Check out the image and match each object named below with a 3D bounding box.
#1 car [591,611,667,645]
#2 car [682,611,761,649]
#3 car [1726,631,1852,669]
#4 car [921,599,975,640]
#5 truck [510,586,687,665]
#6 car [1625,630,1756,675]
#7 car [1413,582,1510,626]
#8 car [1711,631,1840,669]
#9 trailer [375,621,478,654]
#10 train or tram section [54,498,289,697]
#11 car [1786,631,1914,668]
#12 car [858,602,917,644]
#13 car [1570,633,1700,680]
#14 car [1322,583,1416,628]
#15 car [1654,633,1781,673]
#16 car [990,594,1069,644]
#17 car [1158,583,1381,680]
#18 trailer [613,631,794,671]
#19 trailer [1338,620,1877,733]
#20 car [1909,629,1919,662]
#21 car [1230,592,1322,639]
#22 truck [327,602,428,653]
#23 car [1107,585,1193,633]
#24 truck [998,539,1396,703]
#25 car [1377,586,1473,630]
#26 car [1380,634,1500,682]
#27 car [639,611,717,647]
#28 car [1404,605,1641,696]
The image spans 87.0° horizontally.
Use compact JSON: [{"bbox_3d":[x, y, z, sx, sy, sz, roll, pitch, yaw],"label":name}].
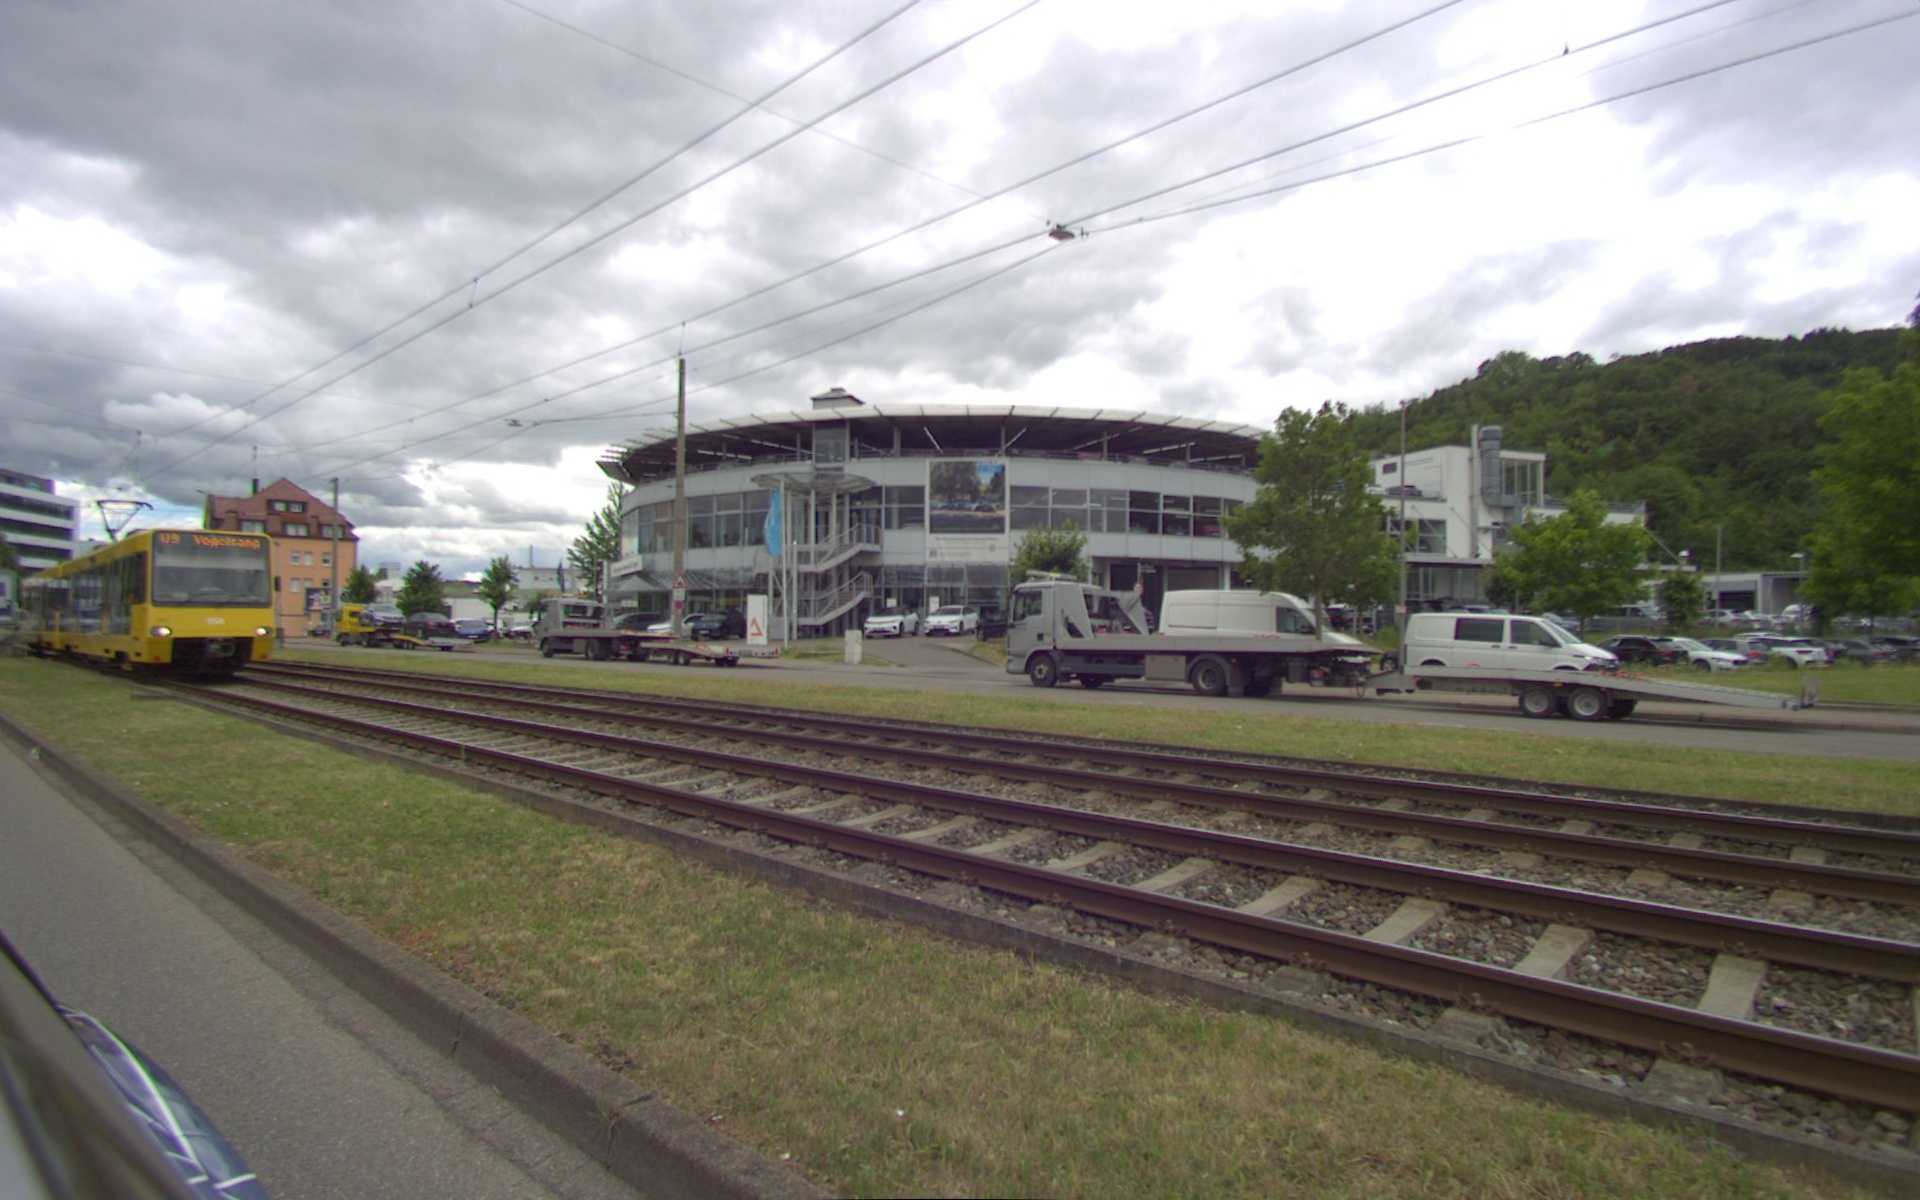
[{"bbox_3d":[-19.936,1.668,60.979,3.933,1.962,2.005,1,-2,-35],"label":"car"},{"bbox_3d":[-12.814,1.601,54.571,1.992,1.962,3.958,-1,-2,30],"label":"car"},{"bbox_3d":[34.182,2.025,41.803,1.649,1.447,3.724,1,-2,-36],"label":"car"},{"bbox_3d":[-0.557,1.006,51.479,1.979,2.029,3.986,-1,-1,11],"label":"car"},{"bbox_3d":[-15.082,1.105,41.764,8.962,2.944,3.073,-2,-4,43],"label":"truck"},{"bbox_3d":[27.975,1.961,38.853,1.649,1.630,3.724,1,-2,-36],"label":"car"},{"bbox_3d":[24.382,0.239,49.347,1.965,2.029,4.012,0,-1,-19],"label":"car"},{"bbox_3d":[32.697,1.973,40.658,1.649,1.447,3.724,1,-2,-36],"label":"car"},{"bbox_3d":[-29.517,2.035,55.835,7.571,1.701,2.944,-2,-2,45],"label":"trailer"},{"bbox_3d":[-22.219,0.003,27.775,3.349,4.037,16.958,-1,0,-44],"label":"train or tram section"},{"bbox_3d":[37.269,2.038,42.444,1.649,1.447,3.724,1,-2,-36],"label":"car"},{"bbox_3d":[-3.616,1.160,51.191,1.979,2.029,3.986,-1,-1,11],"label":"car"},{"bbox_3d":[25.382,2.091,38.174,1.649,1.630,3.724,1,-2,-36],"label":"car"},{"bbox_3d":[19.291,0.301,47.890,1.965,2.029,4.012,0,-1,-19],"label":"car"},{"bbox_3d":[30.017,2.064,40.191,1.649,1.447,3.724,1,-2,-36],"label":"car"},{"bbox_3d":[2.905,0.817,43.172,1.965,2.029,4.012,0,-2,-19],"label":"car"},{"bbox_3d":[8.835,0.906,29.200,5.846,2.580,1.977,-1,-2,34],"label":"car"},{"bbox_3d":[-9.299,1.806,36.220,7.008,1.287,3.015,-2,-4,44],"label":"trailer"},{"bbox_3d":[10.440,1.174,17.009,2.726,1.507,7.230,4,-4,-44],"label":"trailer"},{"bbox_3d":[43.226,1.953,43.172,1.649,1.447,3.724,1,-2,-36],"label":"car"},{"bbox_3d":[14.313,0.718,46.038,1.965,2.029,4.012,0,-1,-19],"label":"car"},{"bbox_3d":[-35.551,1.690,61.600,9.070,2.881,3.015,-2,-2,44],"label":"truck"},{"bbox_3d":[8.291,0.435,44.529,1.965,2.029,4.012,0,-2,-19],"label":"car"},{"bbox_3d":[4.897,0.546,22.607,2.830,3.004,8.460,4,-4,-44],"label":"truck"},{"bbox_3d":[22.343,0.394,48.764,1.965,2.029,4.012,0,-1,-19],"label":"car"},{"bbox_3d":[17.428,2.061,36.891,1.648,1.630,3.728,0,-2,-26],"label":"car"},{"bbox_3d":[-15.776,1.609,56.728,1.992,1.962,3.958,-1,-2,30],"label":"car"},{"bbox_3d":[13.838,1.167,25.112,4.810,2.029,1.971,-1,-1,45],"label":"car"}]
